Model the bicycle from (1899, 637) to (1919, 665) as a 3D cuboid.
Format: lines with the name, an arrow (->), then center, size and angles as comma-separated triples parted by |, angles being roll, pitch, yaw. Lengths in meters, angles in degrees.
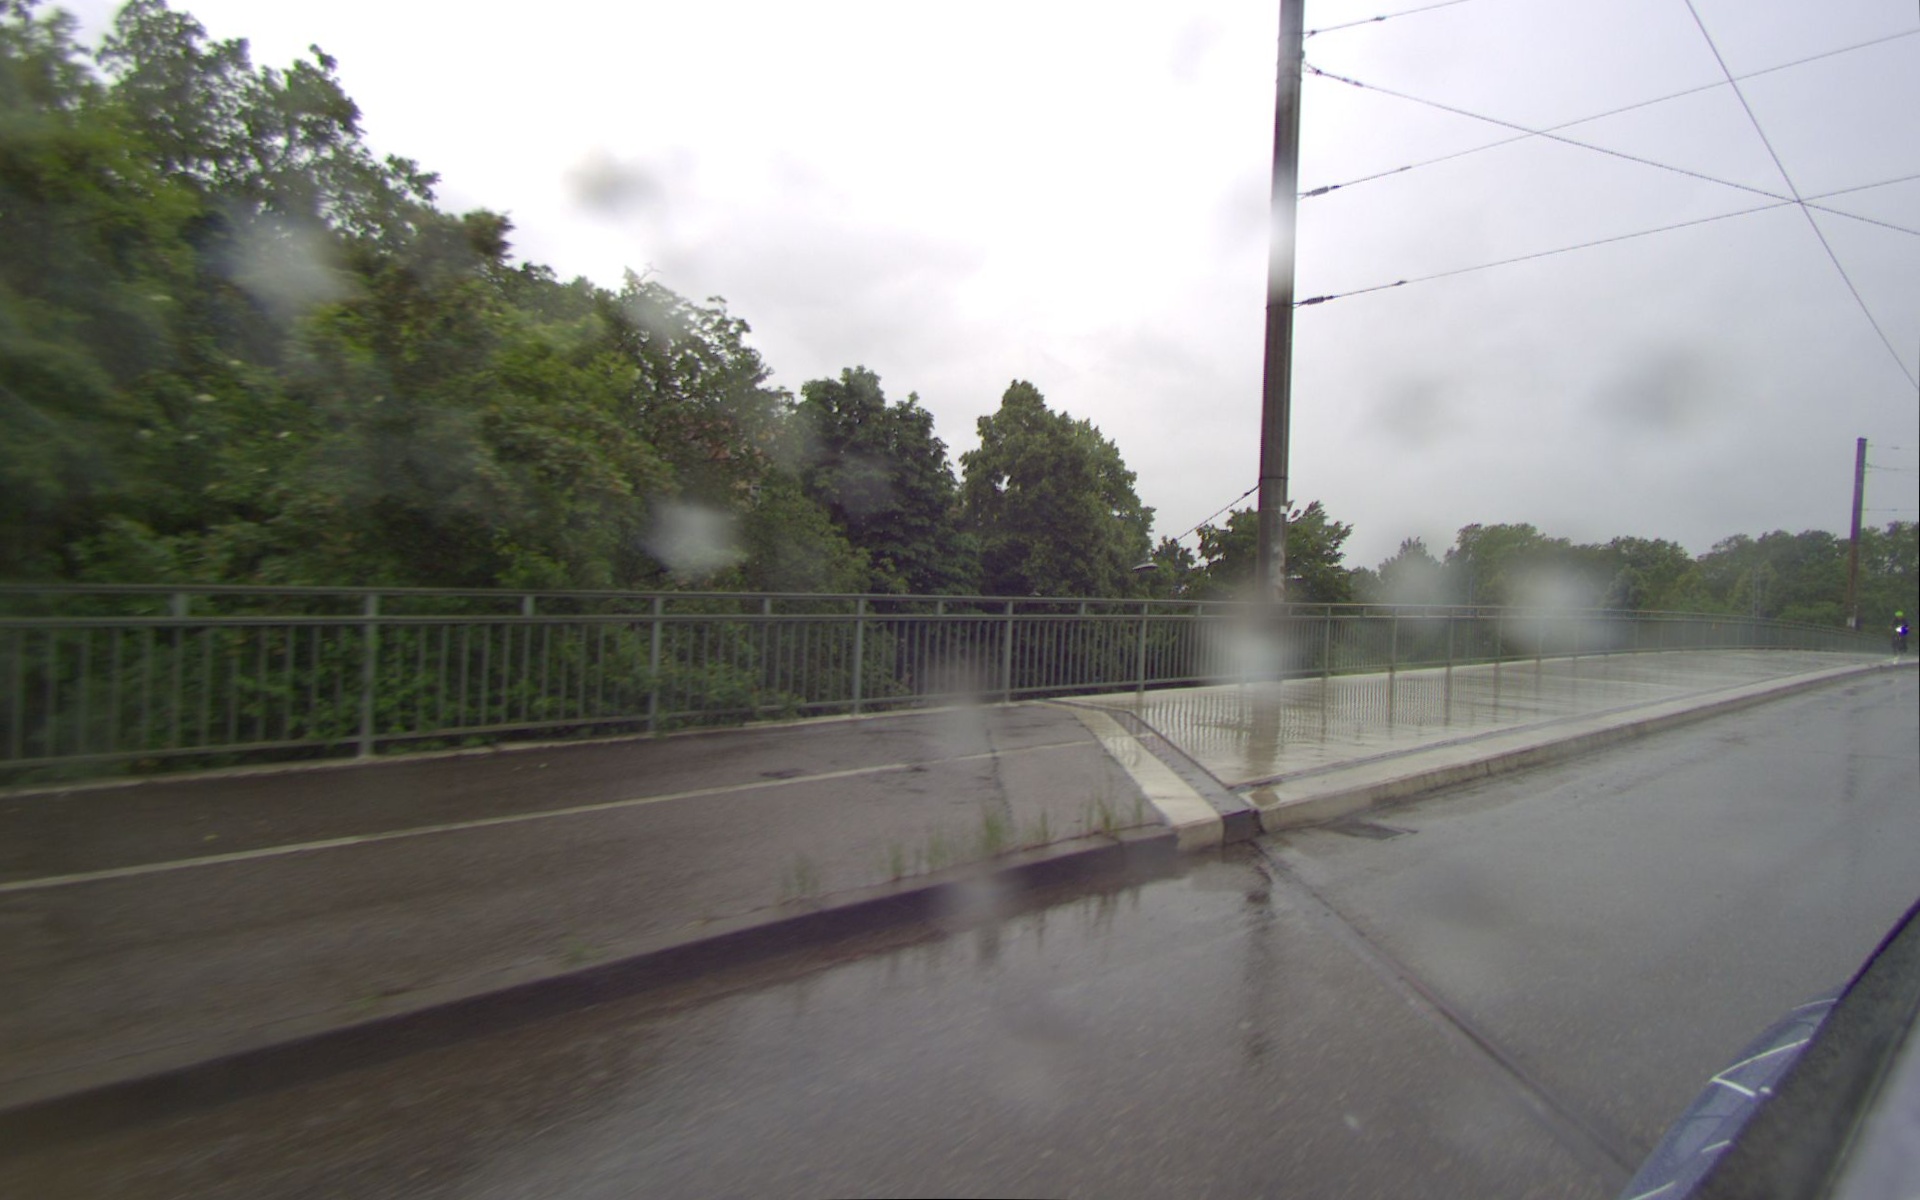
bicycle -> 39.391, 2.117, 41.763 | 2.129, 1.143, 0.724 | 3, -3, -41

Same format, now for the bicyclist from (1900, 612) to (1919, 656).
bicyclist -> 39.390, 1.406, 41.776 | 0.932, 1.786, 0.726 | 2, -2, -41
